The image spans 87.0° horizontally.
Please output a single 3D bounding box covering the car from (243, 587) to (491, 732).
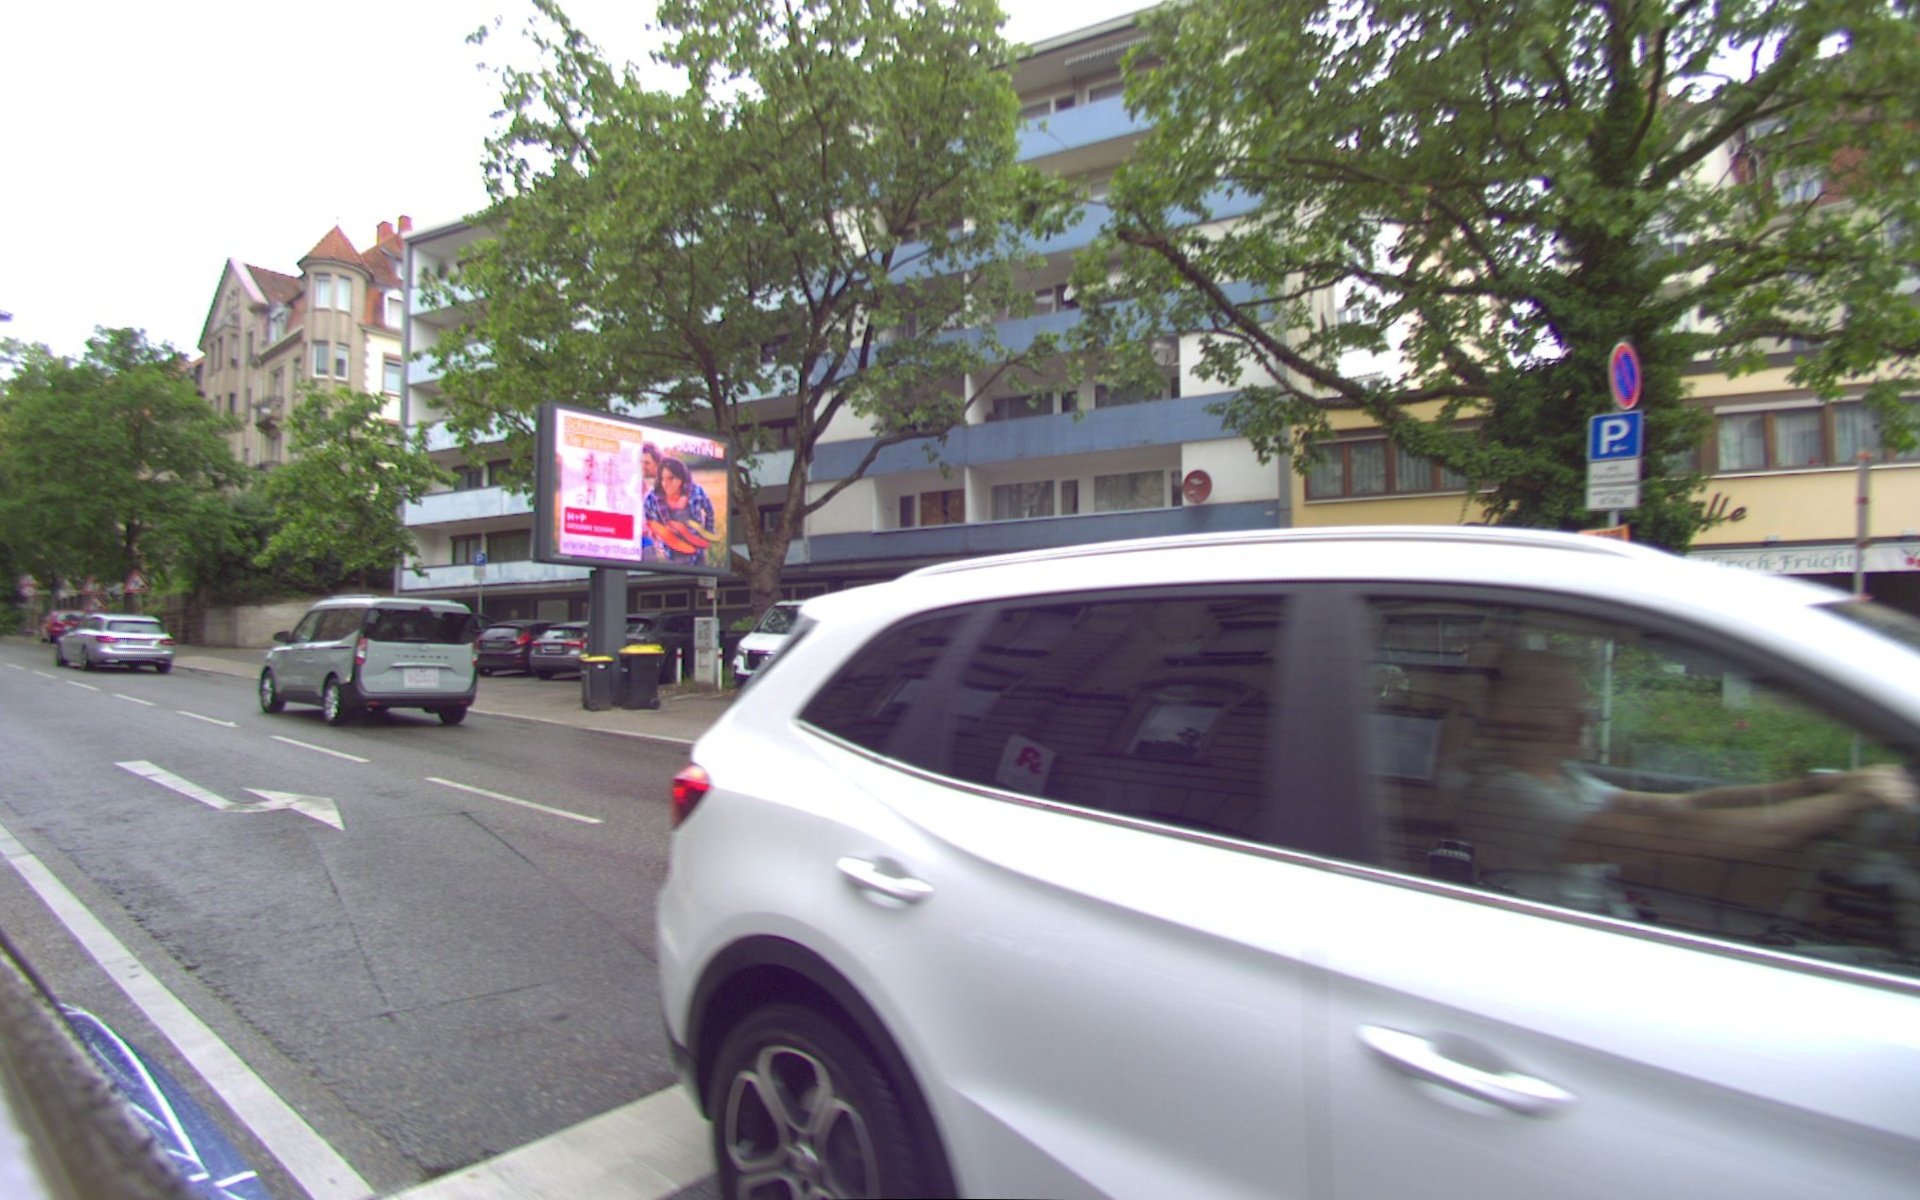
[{"bbox_3d":[-9.049,0.886,15.321,4.238,1.896,1.795,-1,-6,40],"label":"car"}]

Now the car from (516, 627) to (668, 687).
[{"bbox_3d":[-9.372,1.405,26.118,1.678,1.416,3.812,0,-2,19],"label":"car"}]

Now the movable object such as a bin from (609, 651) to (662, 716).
[{"bbox_3d":[-5.708,1.452,17.827,0.627,1.088,0.635,-1,-2,37],"label":"movable object such as a bin"}]

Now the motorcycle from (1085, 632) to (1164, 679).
[{"bbox_3d":[4.331,1.435,26.686,1.953,1.176,0.697,0,-2,30],"label":"motorcycle"}]

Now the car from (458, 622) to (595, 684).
[{"bbox_3d":[-11.674,1.376,27.546,1.662,1.416,3.826,0,1,9],"label":"car"}]

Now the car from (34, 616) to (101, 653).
[{"bbox_3d":[-39.809,1.528,45.122,3.885,1.518,1.729,-1,-5,42],"label":"car"}]

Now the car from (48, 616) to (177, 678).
[{"bbox_3d":[-22.136,1.208,26.380,4.321,1.459,1.709,-1,-5,39],"label":"car"}]

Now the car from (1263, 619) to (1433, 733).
[{"bbox_3d":[6.388,1.163,17.168,1.920,1.655,4.202,0,-1,10],"label":"car"}]

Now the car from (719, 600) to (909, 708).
[{"bbox_3d":[-2.877,1.039,21.266,1.866,1.992,4.944,0,-1,20],"label":"car"}]

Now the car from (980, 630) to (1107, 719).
[{"bbox_3d":[1.651,1.303,18.865,1.795,1.426,3.688,0,-1,14],"label":"car"}]

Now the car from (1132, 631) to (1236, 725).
[{"bbox_3d":[3.882,1.292,17.935,1.613,1.426,3.610,0,-1,10],"label":"car"}]

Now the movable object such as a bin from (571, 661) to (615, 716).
[{"bbox_3d":[-6.366,1.518,17.562,0.545,0.908,0.479,-1,-2,37],"label":"movable object such as a bin"}]

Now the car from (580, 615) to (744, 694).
[{"bbox_3d":[-7.011,1.249,24.195,1.794,1.702,3.809,0,-2,21],"label":"car"}]

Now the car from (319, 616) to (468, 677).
[{"bbox_3d":[-16.496,1.307,29.675,1.753,1.543,3.822,0,1,12],"label":"car"}]

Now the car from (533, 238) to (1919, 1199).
[{"bbox_3d":[1.186,0.510,1.792,4.374,1.657,1.735,-1,-1,39],"label":"car"}]

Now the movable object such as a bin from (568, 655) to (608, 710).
[{"bbox_3d":[-6.866,1.514,18.696,0.511,0.971,0.479,-1,-2,37],"label":"movable object such as a bin"}]
